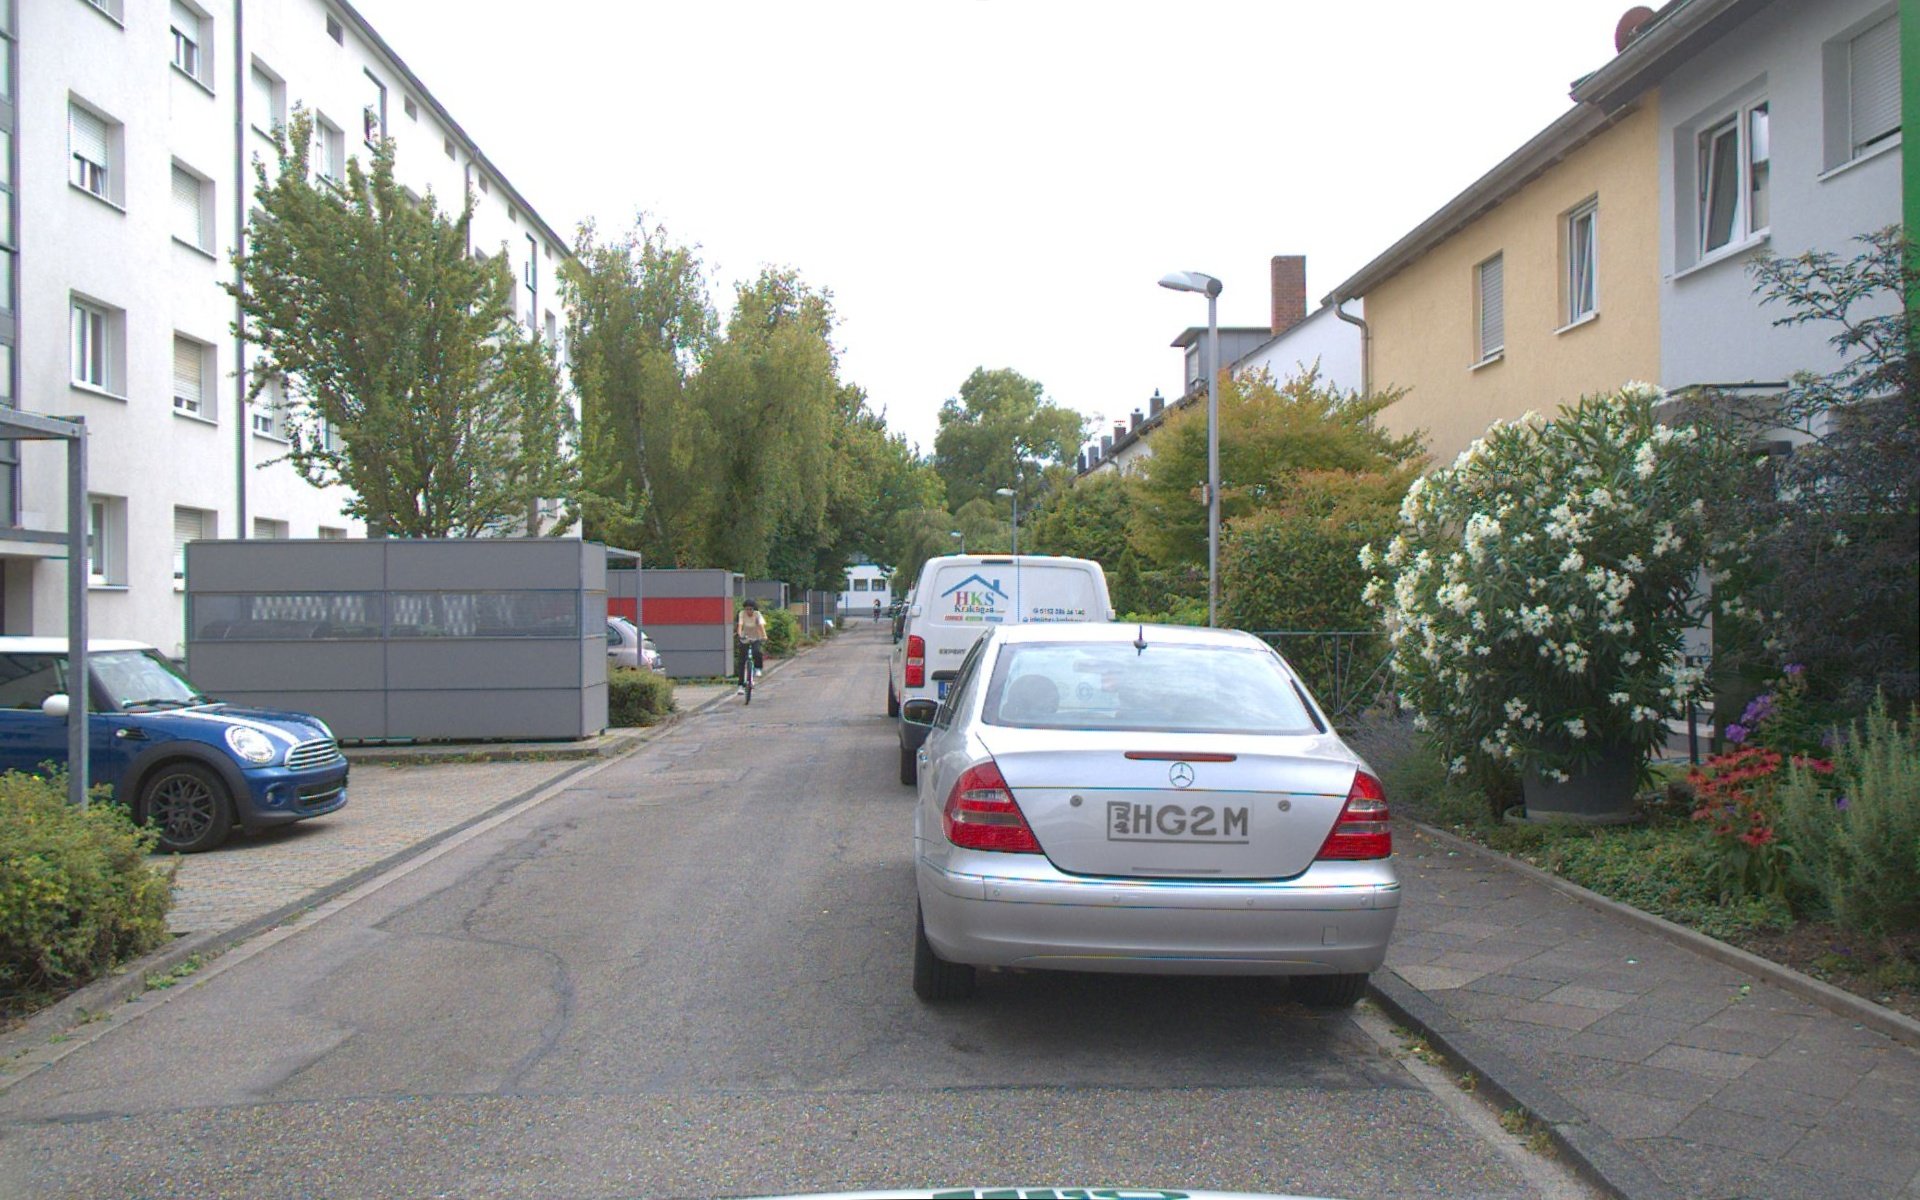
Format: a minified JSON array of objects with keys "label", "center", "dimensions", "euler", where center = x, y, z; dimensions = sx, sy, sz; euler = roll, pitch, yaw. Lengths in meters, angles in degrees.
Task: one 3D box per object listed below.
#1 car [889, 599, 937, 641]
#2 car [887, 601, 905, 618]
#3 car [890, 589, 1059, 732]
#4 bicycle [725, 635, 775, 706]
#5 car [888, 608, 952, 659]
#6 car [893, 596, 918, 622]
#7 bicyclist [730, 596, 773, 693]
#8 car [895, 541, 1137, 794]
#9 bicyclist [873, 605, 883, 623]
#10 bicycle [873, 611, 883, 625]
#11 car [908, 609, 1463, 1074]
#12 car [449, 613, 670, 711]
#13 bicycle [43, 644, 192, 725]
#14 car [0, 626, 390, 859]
[{"label":"car","center":[-1.939,0.803,67.431],"dimensions":[1.789,1.609,3.997],"euler":[1,0,-4]},{"label":"car","center":[-6.366,0.929,165.170],"dimensions":[1.788,1.609,3.998],"euler":[1,0,-2]},{"label":"car","center":[0.087,0.719,21.481],"dimensions":[1.789,1.664,4.157],"euler":[1,0,-5]},{"label":"bicycle","center":[-3.524,1.168,27.906],"dimensions":[0.585,1.095,2.042],"euler":[-2,0,-1]},{"label":"car","center":[-1.194,0.966,49.081],"dimensions":[1.788,1.394,4.329],"euler":[1,0,-2]},{"label":"car","center":[-4.117,0.682,124.345],"dimensions":[1.788,1.916,3.998],"euler":[1,0,-2]},{"label":"bicyclist","center":[-3.539,0.746,28.079],"dimensions":[0.585,1.608,0.767],"euler":[-2,0,-1]},{"label":"car","center":[0.350,0.554,15.824],"dimensions":[1.866,1.999,5.250],"euler":[1,0,-3]},{"label":"bicyclist","center":[-6.929,1.188,140.145],"dimensions":[0.782,1.537,0.934],"euler":[1,-1,0]},{"label":"bicycle","center":[-6.934,1.534,140.144],"dimensions":[0.675,1.151,2.579],"euler":[1,0,0]},{"label":"car","center":[0.688,0.779,7.456],"dimensions":[1.747,1.445,4.454],"euler":[1,0,-1]},{"label":"car","center":[-6.886,1.051,28.754],"dimensions":[3.494,1.506,1.708],"euler":[-2,0,-7]},{"label":"bicycle","center":[-11.740,1.158,23.088],"dimensions":[1.796,1.042,0.471],"euler":[-1,0,-44]},{"label":"car","center":[-6.193,0.990,11.904],"dimensions":[3.560,1.487,1.653],"euler":[-2,0,1]}]
